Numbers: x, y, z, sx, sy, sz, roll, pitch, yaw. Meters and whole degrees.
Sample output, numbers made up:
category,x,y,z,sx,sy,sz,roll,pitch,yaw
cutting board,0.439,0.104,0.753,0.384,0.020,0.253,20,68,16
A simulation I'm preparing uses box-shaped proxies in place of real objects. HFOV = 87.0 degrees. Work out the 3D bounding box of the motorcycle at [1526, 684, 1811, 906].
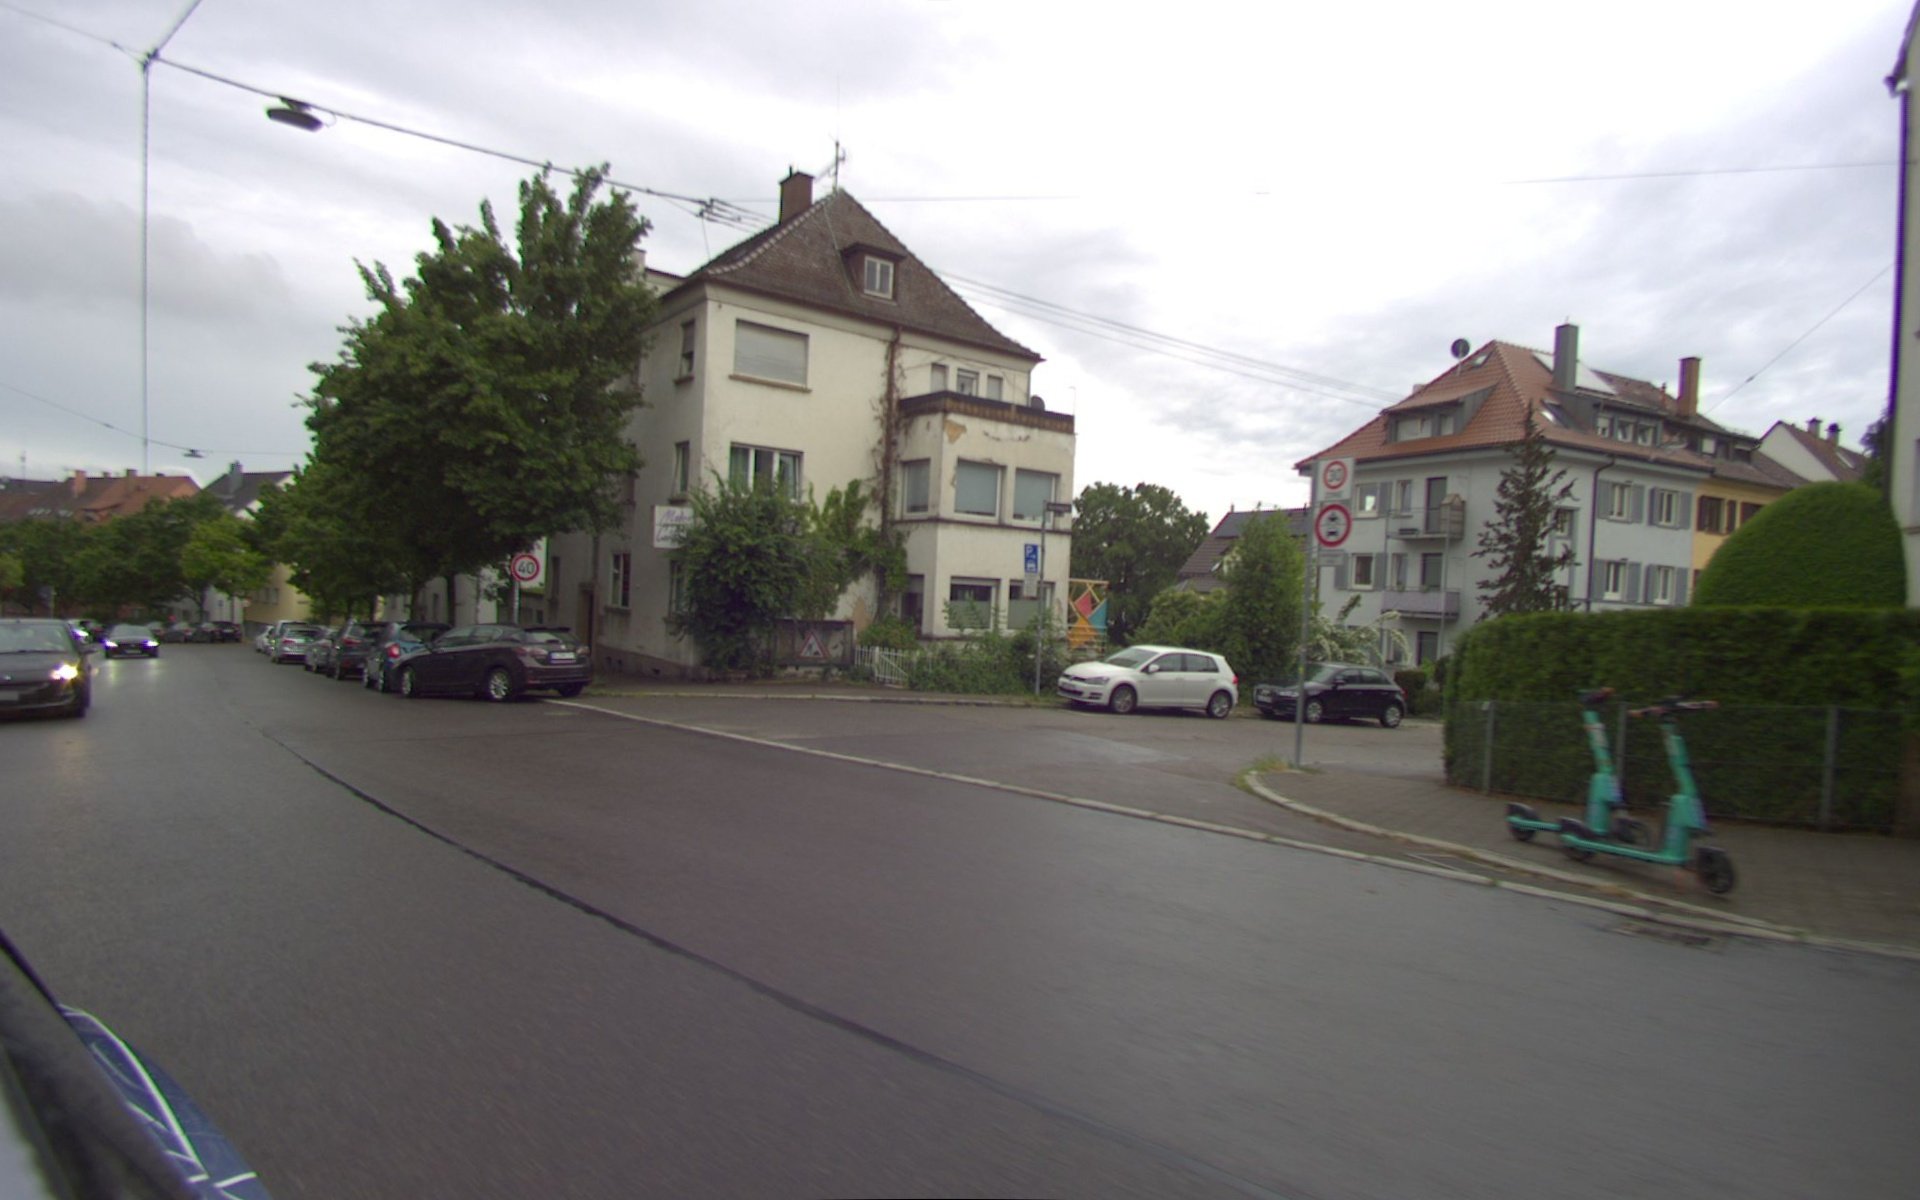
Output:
category,x,y,z,sx,sy,sz,roll,pitch,yaw
motorcycle,4.593,1.200,6.652,0.549,1.213,1.402,1,-2,-33

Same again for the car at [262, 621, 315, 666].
category,x,y,z,sx,sy,sz,roll,pitch,yaw
car,-33.790,2.132,50.882,1.889,2.016,4.557,0,0,-38

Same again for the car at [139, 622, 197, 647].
category,x,y,z,sx,sy,sz,roll,pitch,yaw
car,-56.404,2.481,72.092,4.540,1.703,1.839,-2,-2,32

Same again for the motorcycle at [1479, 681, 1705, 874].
category,x,y,z,sx,sy,sz,roll,pitch,yaw
motorcycle,4.684,1.259,7.578,0.545,1.237,1.309,1,-2,-33

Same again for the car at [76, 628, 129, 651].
category,x,y,z,sx,sy,sz,roll,pitch,yaw
car,-66.183,3.038,78.096,4.573,1.680,1.839,-2,-1,33

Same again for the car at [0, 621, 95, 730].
category,x,y,z,sx,sy,sz,roll,pitch,yaw
car,-14.240,1.072,15.251,1.672,1.475,4.007,1,-2,-39

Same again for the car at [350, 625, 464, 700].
category,x,y,z,sx,sy,sz,roll,pitch,yaw
car,-12.452,1.366,22.685,1.690,1.474,3.889,-1,-2,-37

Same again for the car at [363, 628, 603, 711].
category,x,y,z,sx,sy,sz,roll,pitch,yaw
car,-9.094,1.249,19.293,4.175,1.401,1.982,0,-1,26

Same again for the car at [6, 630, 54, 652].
category,x,y,z,sx,sy,sz,roll,pitch,yaw
car,-78.926,3.481,85.858,4.581,1.703,1.735,-2,-1,30

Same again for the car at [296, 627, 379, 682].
category,x,y,z,sx,sy,sz,roll,pitch,yaw
car,-20.632,1.768,33.461,1.781,1.564,4.810,4,-3,-37

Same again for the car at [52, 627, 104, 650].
category,x,y,z,sx,sy,sz,roll,pitch,yaw
car,-70.985,3.090,81.451,4.465,1.790,1.841,-2,-1,31

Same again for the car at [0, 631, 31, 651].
category,x,y,z,sx,sy,sz,roll,pitch,yaw
car,-83.334,3.607,88.397,4.456,1.653,1.777,-2,-1,26

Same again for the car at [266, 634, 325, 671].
category,x,y,z,sx,sy,sz,roll,pitch,yaw
car,-30.709,2.384,46.699,1.782,1.497,4.244,4,-3,-39

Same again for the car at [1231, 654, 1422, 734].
category,x,y,z,sx,sy,sz,roll,pitch,yaw
car,8.849,2.265,24.445,4.035,1.528,2.007,6,-3,-26

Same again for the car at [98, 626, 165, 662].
category,x,y,z,sx,sy,sz,roll,pitch,yaw
car,-37.126,1.944,45.444,1.967,1.522,4.221,0,-1,-35

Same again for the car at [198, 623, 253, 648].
category,x,y,z,sx,sy,sz,roll,pitch,yaw
car,-48.552,2.352,66.902,4.510,1.552,1.758,-1,0,38

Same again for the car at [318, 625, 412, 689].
category,x,y,z,sx,sy,sz,roll,pitch,yaw
car,-16.893,1.547,28.654,1.781,1.639,4.148,0,-1,-38

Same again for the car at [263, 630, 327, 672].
category,x,y,z,sx,sy,sz,roll,pitch,yaw
car,-27.280,2.041,41.443,1.781,1.464,4.606,0,0,-38

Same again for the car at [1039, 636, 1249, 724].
category,x,y,z,sx,sy,sz,roll,pitch,yaw
car,4.037,1.759,22.231,4.035,1.528,2.007,6,-3,-26

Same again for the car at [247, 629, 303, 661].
category,x,y,z,sx,sy,sz,roll,pitch,yaw
car,-37.532,2.461,55.373,1.763,1.526,4.350,5,-3,-44

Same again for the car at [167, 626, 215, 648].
category,x,y,z,sx,sy,sz,roll,pitch,yaw
car,-52.657,2.516,69.259,4.316,1.407,1.598,-2,-1,38
